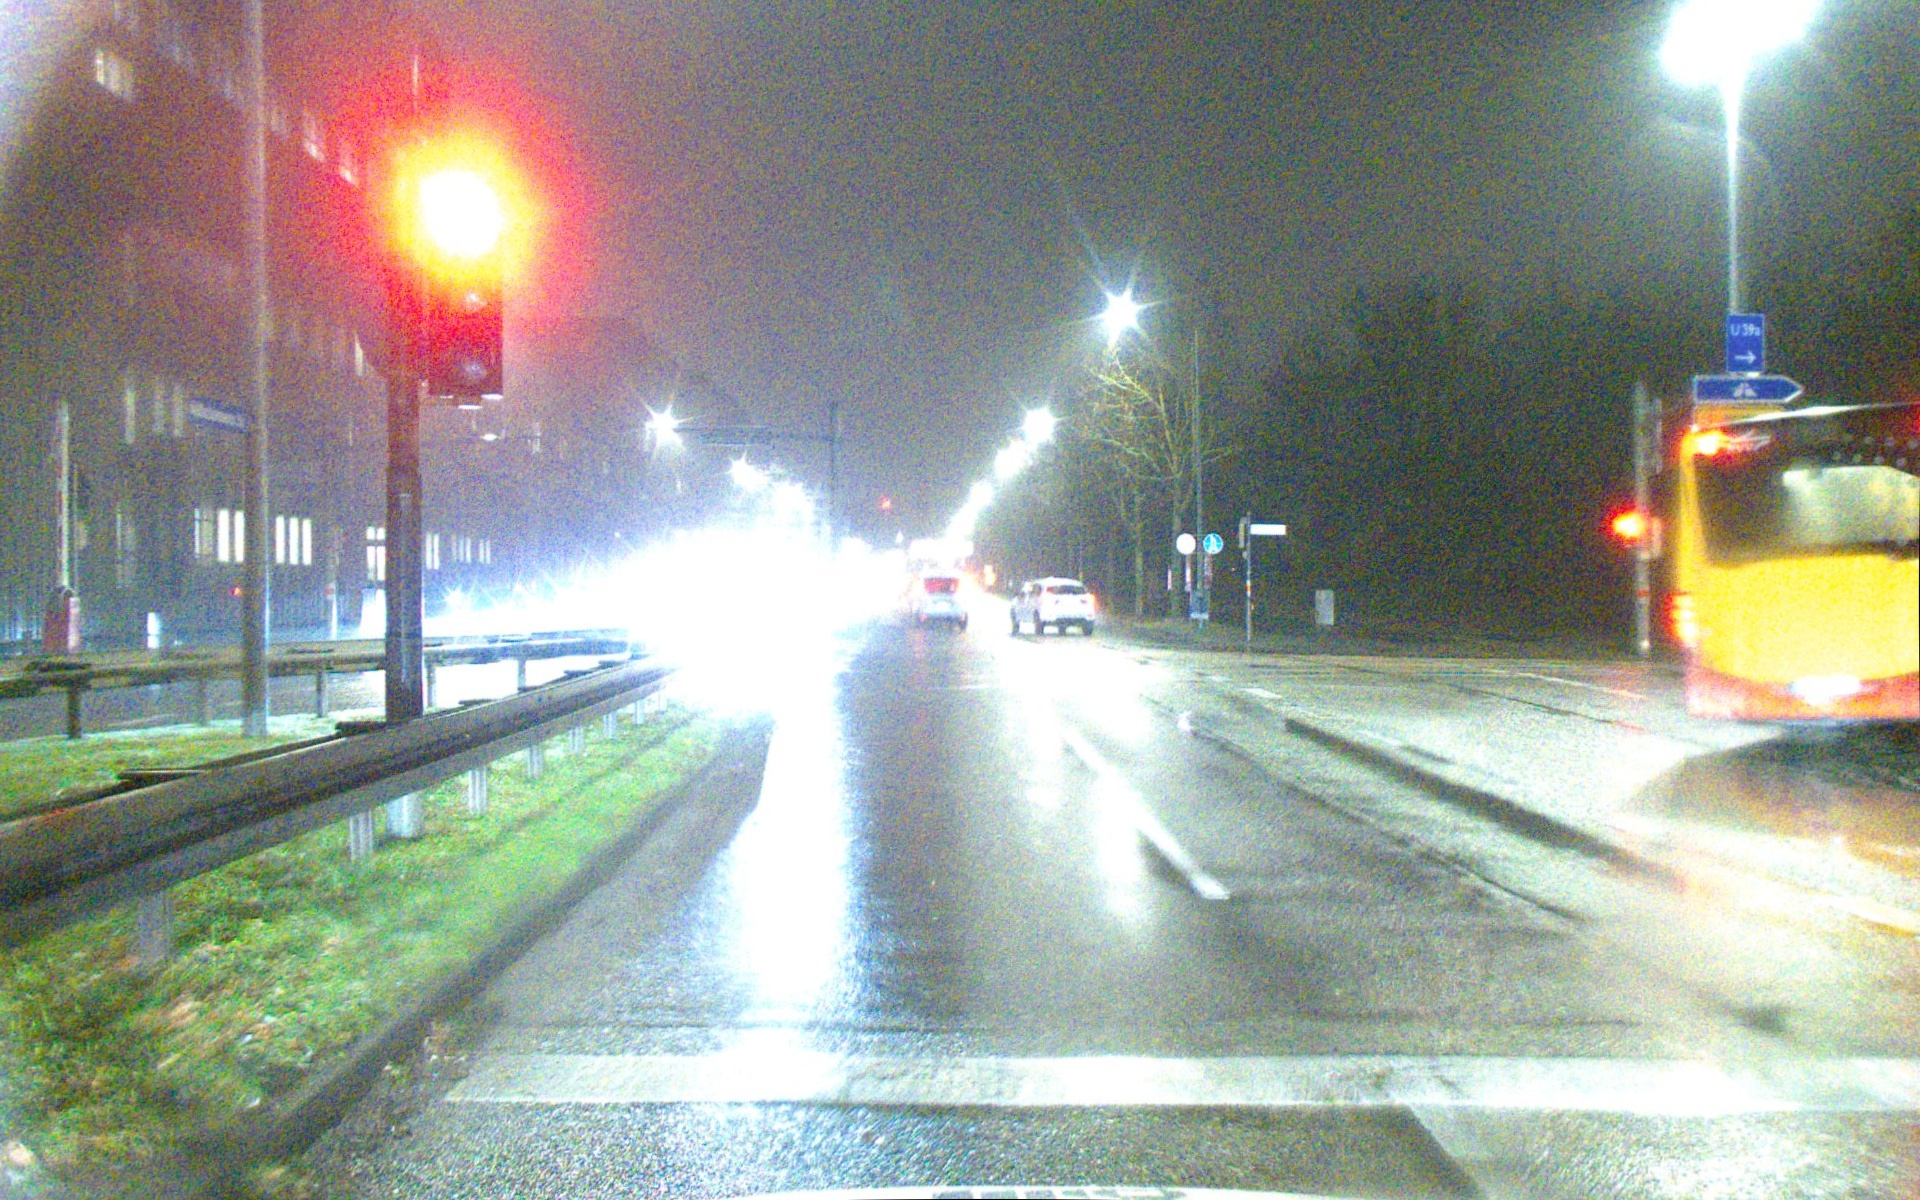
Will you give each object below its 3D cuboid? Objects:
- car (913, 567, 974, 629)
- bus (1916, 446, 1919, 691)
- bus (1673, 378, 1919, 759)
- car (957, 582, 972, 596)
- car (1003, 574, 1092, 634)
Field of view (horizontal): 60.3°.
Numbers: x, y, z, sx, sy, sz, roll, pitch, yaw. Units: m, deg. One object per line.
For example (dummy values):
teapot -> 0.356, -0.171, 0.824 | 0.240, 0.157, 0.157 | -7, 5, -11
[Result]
car -> -0.571, -0.045, 53.789 | 1.755, 1.907, 4.624 | 1, 0, -3
bus -> 17.373, -0.327, 21.966 | 9.592, 3.178, 2.760 | 1, 0, -22
bus -> 10.785, -0.251, 17.879 | 2.728, 3.178, 9.703 | 1, 0, 42
car -> 0.607, -1.431, 220.831 | 1.953, 1.790, 3.999 | 1, 0, -1
car -> 2.620, 0.122, 50.675 | 1.758, 1.708, 4.417 | 1, 0, -10
